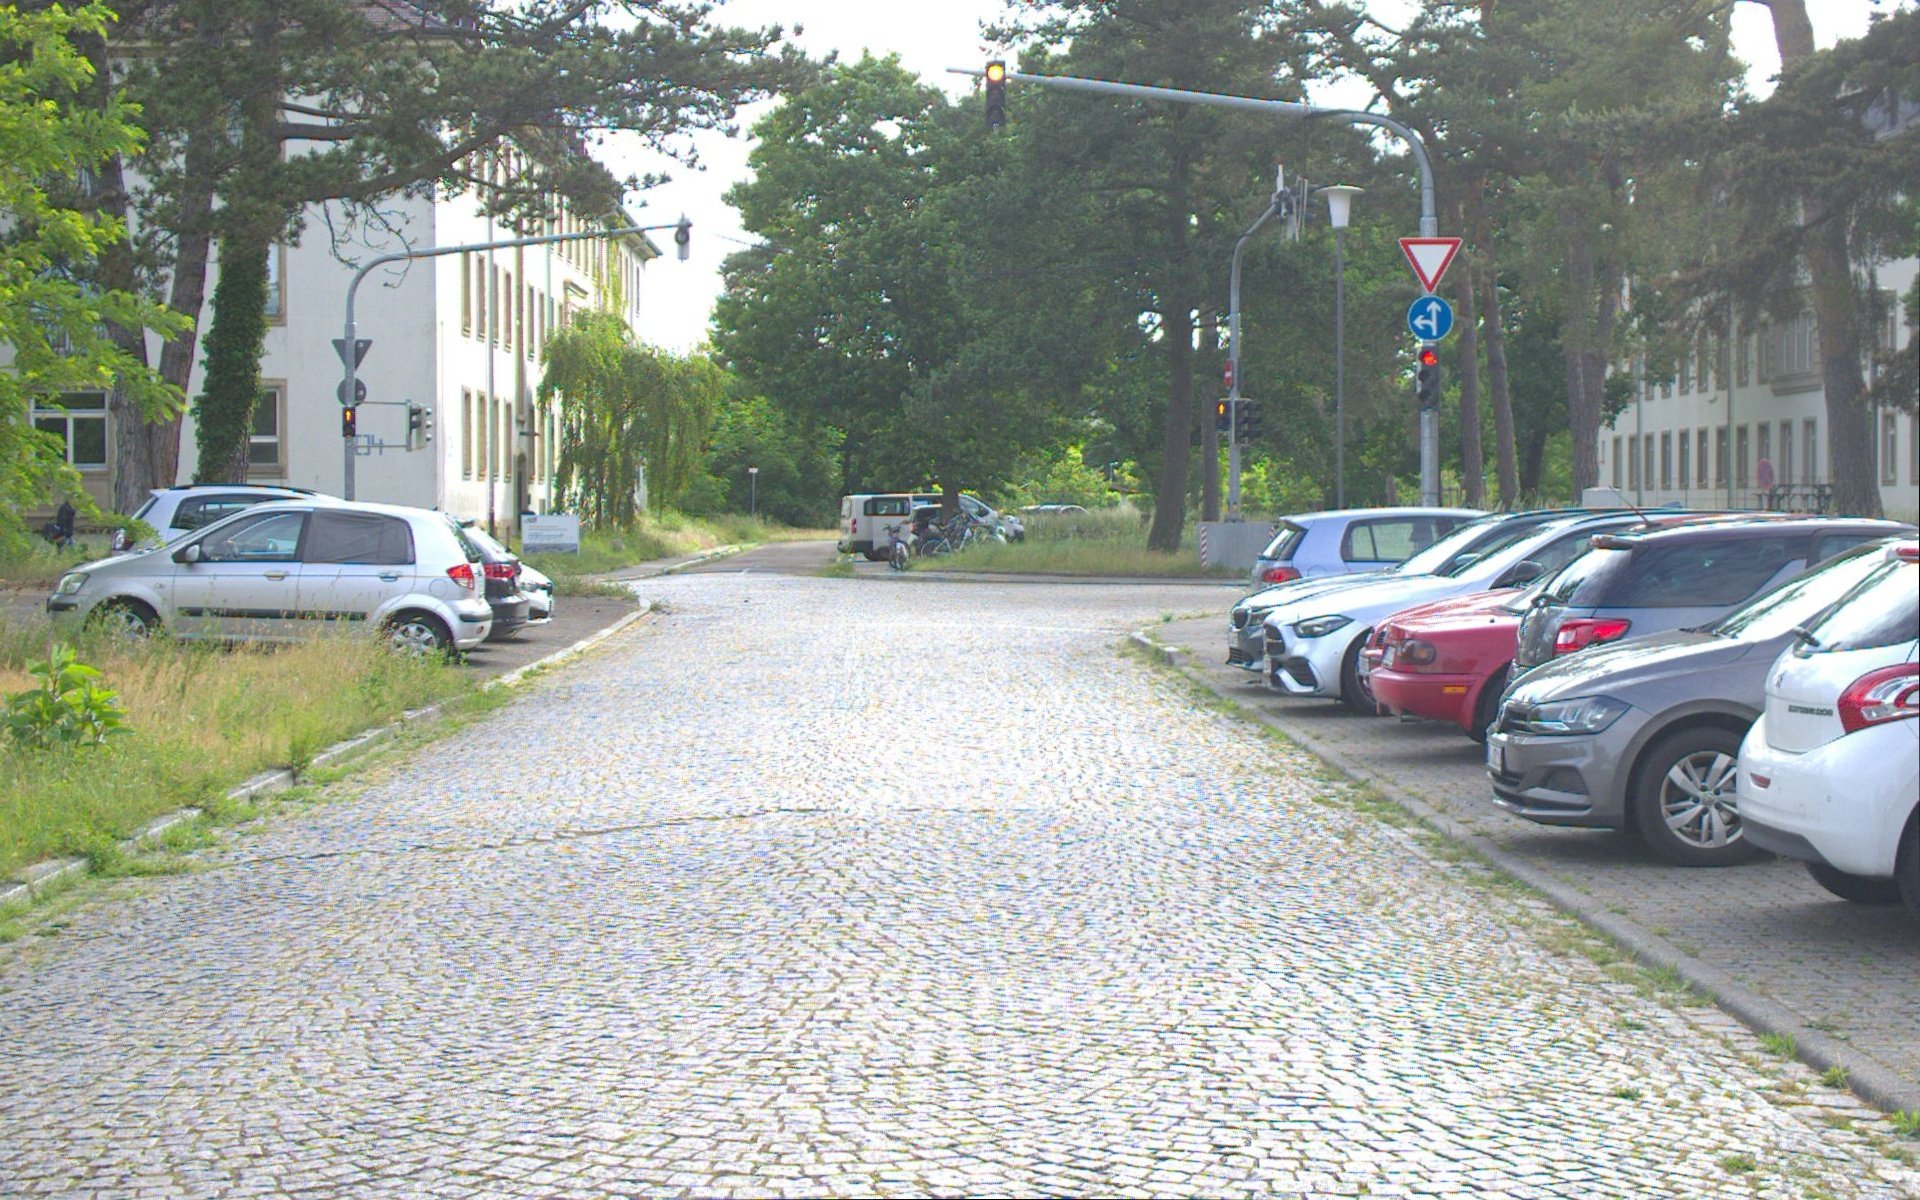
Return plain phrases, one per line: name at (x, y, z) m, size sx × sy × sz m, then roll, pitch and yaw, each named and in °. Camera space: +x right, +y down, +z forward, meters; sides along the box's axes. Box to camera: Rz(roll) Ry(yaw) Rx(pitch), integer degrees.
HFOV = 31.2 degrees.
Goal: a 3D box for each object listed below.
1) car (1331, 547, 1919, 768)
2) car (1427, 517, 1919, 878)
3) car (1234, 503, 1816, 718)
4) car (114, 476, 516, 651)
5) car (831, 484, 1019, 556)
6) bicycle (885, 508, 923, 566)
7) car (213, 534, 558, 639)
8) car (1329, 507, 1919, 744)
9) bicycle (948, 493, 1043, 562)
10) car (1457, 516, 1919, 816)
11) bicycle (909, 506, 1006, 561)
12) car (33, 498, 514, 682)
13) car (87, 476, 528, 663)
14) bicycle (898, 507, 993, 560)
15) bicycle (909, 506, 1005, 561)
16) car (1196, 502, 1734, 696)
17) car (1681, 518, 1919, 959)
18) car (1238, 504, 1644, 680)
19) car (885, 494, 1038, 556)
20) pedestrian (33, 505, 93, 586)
car at (4.093, 0.322, 21.245) m, size 3.291 × 1.263 × 1.664 m, roll 0°, pitch 2°, yaw -7°
car at (4.122, 0.381, 15.650) m, size 3.597 × 1.501 × 1.665 m, roll 0°, pitch 2°, yaw -12°
car at (4.173, 0.046, 25.719) m, size 3.986 × 1.538 × 1.664 m, roll 0°, pitch 2°, yaw -7°
car at (-6.636, -0.393, 35.696) m, size 3.986 × 1.744 × 1.928 m, roll 0°, pitch 2°, yaw -8°
car at (-1.021, -2.283, 97.816) m, size 5.049 × 2.006 × 2.001 m, roll 0°, pitch 2°, yaw -11°
bicycle at (-1.243, -1.408, 76.240) m, size 0.810 × 1.264 × 1.973 m, roll 0°, pitch 2°, yaw 0°
car at (-6.289, -0.166, 37.906) m, size 3.670 × 1.090 × 1.647 m, roll 0°, pitch 2°, yaw -7°
car at (4.668, 0.150, 23.497) m, size 3.986 × 1.538 × 1.664 m, roll 0°, pitch 2°, yaw -7°
bicycle at (0.832, -1.725, 81.321) m, size 2.160 × 1.610 × 0.813 m, roll 0°, pitch 2°, yaw -7°
car at (4.533, 0.309, 18.534) m, size 3.291 × 1.499 × 1.665 m, roll 0°, pitch 2°, yaw -12°
bicycle at (-0.068, -1.548, 80.014) m, size 2.160 × 1.264 × 0.813 m, roll 0°, pitch 2°, yaw -7°
car at (-5.934, -0.120, 30.149) m, size 3.986 × 1.546 × 2.001 m, roll 0°, pitch 2°, yaw -7°
car at (-6.113, -0.319, 32.633) m, size 3.986 × 1.700 × 2.001 m, roll 0°, pitch 2°, yaw -7°
bicycle at (-0.348, -1.585, 81.811) m, size 2.160 × 1.264 × 0.813 m, roll 0°, pitch 2°, yaw -7°
bicycle at (-0.085, -1.559, 80.602) m, size 2.160 × 1.264 × 0.813 m, roll 0°, pitch 2°, yaw -7°
car at (4.146, -0.037, 28.536) m, size 4.122 × 1.538 × 1.664 m, roll 0°, pitch 2°, yaw -7°
car at (4.513, 0.454, 12.703) m, size 3.292 × 1.499 × 1.664 m, roll 0°, pitch 2°, yaw -3°
car at (4.319, -0.096, 31.108) m, size 3.388 × 1.538 × 1.391 m, roll 0°, pitch 2°, yaw -7°
car at (0.015, -2.070, 94.557) m, size 3.986 × 1.638 × 2.001 m, roll 0°, pitch 2°, yaw -7°
pedestrian at (-16.723, -1.025, 64.106) m, size 0.898 × 1.493 × 0.904 m, roll 0°, pitch 2°, yaw 0°
